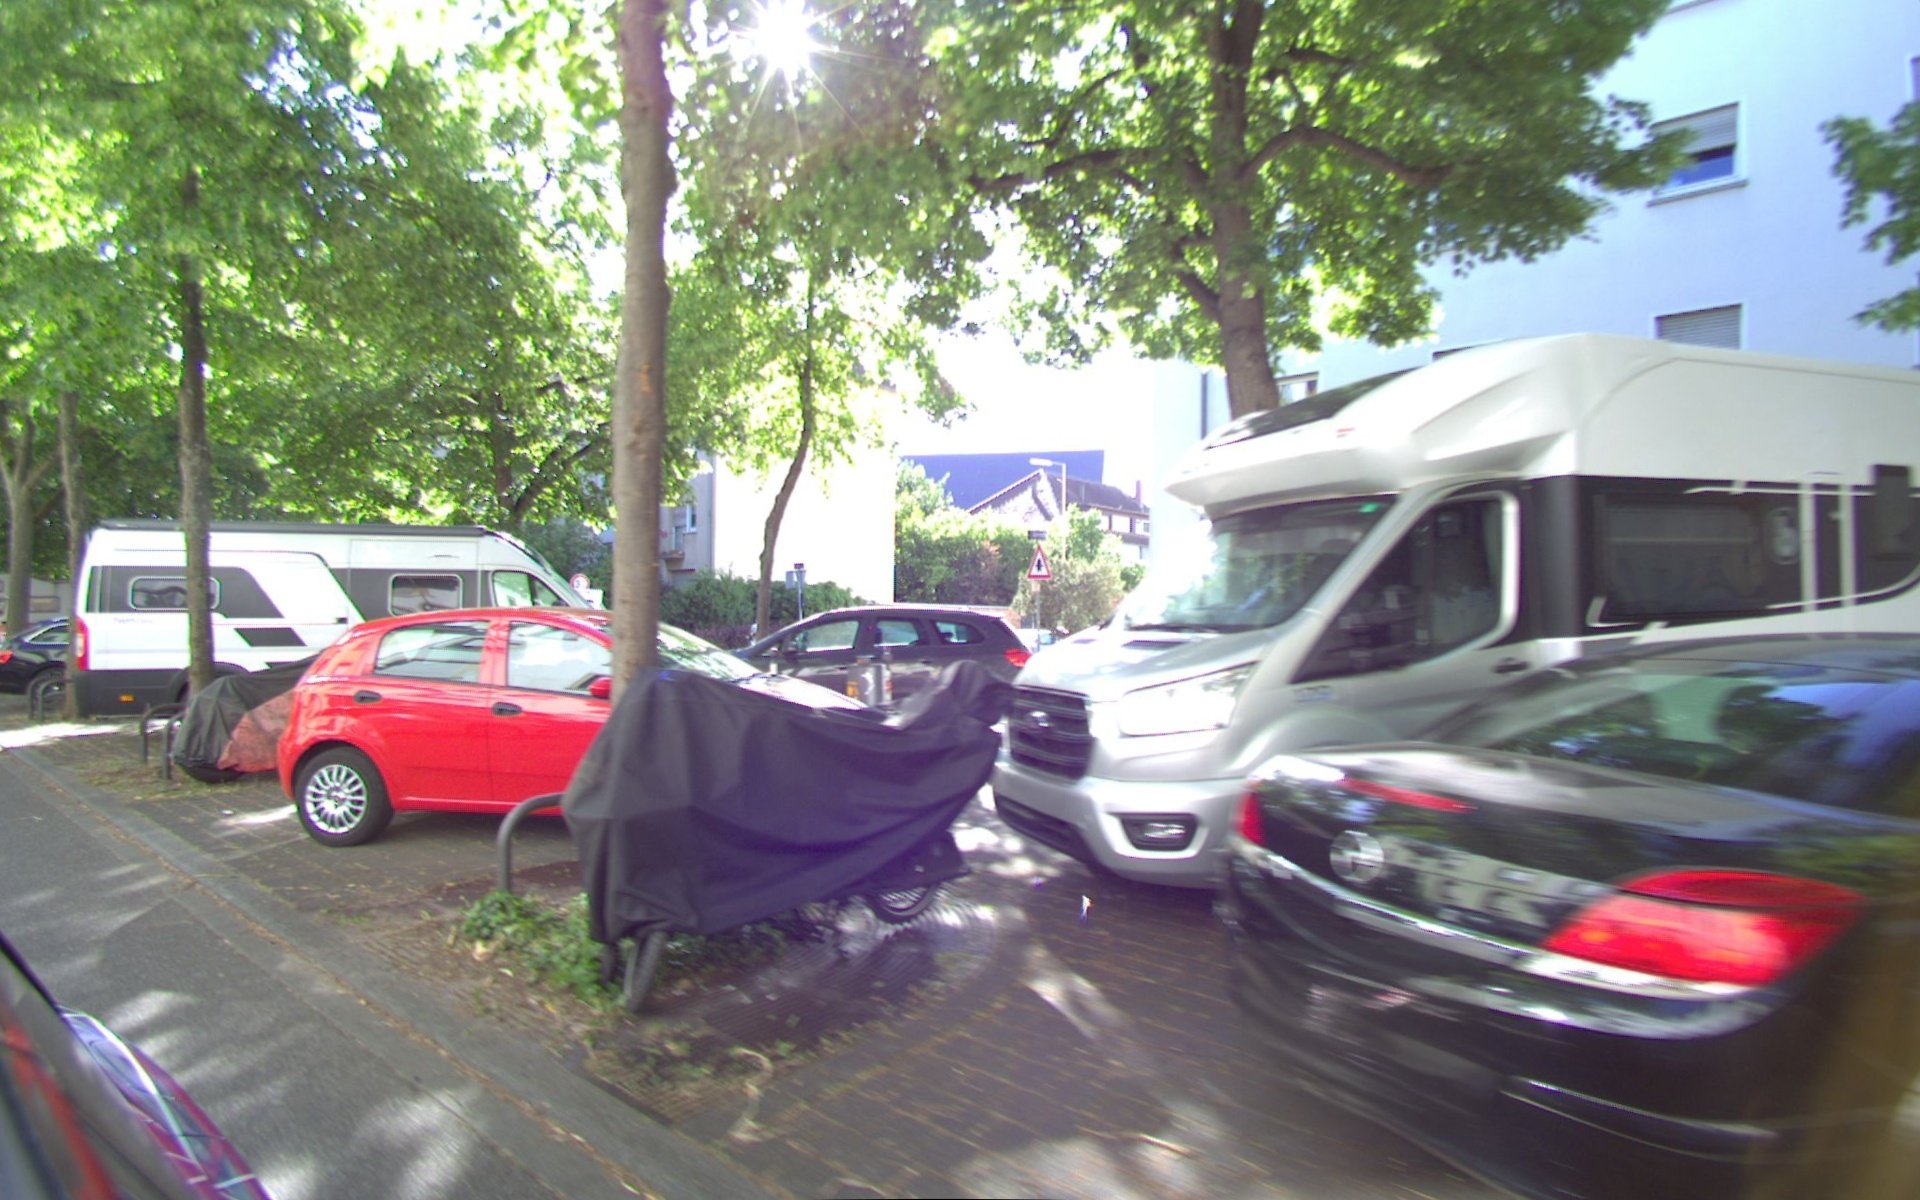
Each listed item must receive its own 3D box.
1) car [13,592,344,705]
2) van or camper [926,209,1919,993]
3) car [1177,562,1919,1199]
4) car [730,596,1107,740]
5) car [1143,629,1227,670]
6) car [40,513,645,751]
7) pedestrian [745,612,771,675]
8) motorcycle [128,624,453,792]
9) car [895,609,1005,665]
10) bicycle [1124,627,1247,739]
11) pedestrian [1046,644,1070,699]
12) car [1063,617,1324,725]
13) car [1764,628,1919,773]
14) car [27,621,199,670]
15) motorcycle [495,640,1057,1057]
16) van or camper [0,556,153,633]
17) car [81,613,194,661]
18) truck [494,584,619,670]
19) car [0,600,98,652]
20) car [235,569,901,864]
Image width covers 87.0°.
[{"bbox_3d":[-12.939,0.758,17.066,4.030,1.537,1.707,-3,0,-19],"label":"car"},{"bbox_3d":[3.143,-0.019,5.879,6.197,2.846,2.415,-1,-1,-20],"label":"van or camper"},{"bbox_3d":[2.834,0.696,2.684,4.086,1.436,1.720,1,-1,-17],"label":"car"},{"bbox_3d":[-0.540,0.782,11.799,4.071,1.497,1.837,1,-4,-9],"label":"car"},{"bbox_3d":[9.219,1.991,41.336,1.652,1.582,3.944,-1,-2,42],"label":"car"},{"bbox_3d":[-7.289,0.351,12.948,6.220,2.578,2.345,0,-1,-17],"label":"car"},{"bbox_3d":[-6.018,1.291,30.197,0.573,1.837,0.672,1,-2,-28],"label":"pedestrian"},{"bbox_3d":[-6.063,0.901,9.341,0.966,1.345,2.301,-1,-2,32],"label":"motorcycle"},{"bbox_3d":[-0.323,1.456,38.816,1.997,2.041,4.305,-1,-3,38],"label":"car"},{"bbox_3d":[2.397,0.795,10.518,0.630,0.986,2.426,-1,-1,28],"label":"bicycle"},{"bbox_3d":[3.006,2.180,30.909,0.555,1.652,0.483,-1,-3,38],"label":"pedestrian"},{"bbox_3d":[3.689,1.078,16.293,3.761,1.530,1.689,-1,-3,40],"label":"car"},{"bbox_3d":[10.975,1.026,10.327,4.300,1.409,1.628,-1,0,39],"label":"car"},{"bbox_3d":[-27.620,1.501,33.141,3.932,1.530,1.675,1,-2,-15],"label":"car"},{"bbox_3d":[-0.662,0.811,4.168,2.120,1.239,0.883,1,-1,-40],"label":"motorcycle"},{"bbox_3d":[-37.370,-0.186,41.683,5.929,3.025,2.407,1,-2,-20],"label":"van or camper"},{"bbox_3d":[-30.875,1.393,38.085,2.941,1.730,1.426,1,-2,-17],"label":"car"},{"bbox_3d":[-12.343,0.826,30.843,4.264,2.428,1.900,-1,-3,43],"label":"truck"},{"bbox_3d":[-47.063,1.277,50.237,6.094,2.530,2.145,1,-2,-22],"label":"car"},{"bbox_3d":[-2.449,0.666,6.770,3.837,1.630,1.659,0,-2,10],"label":"car"}]
